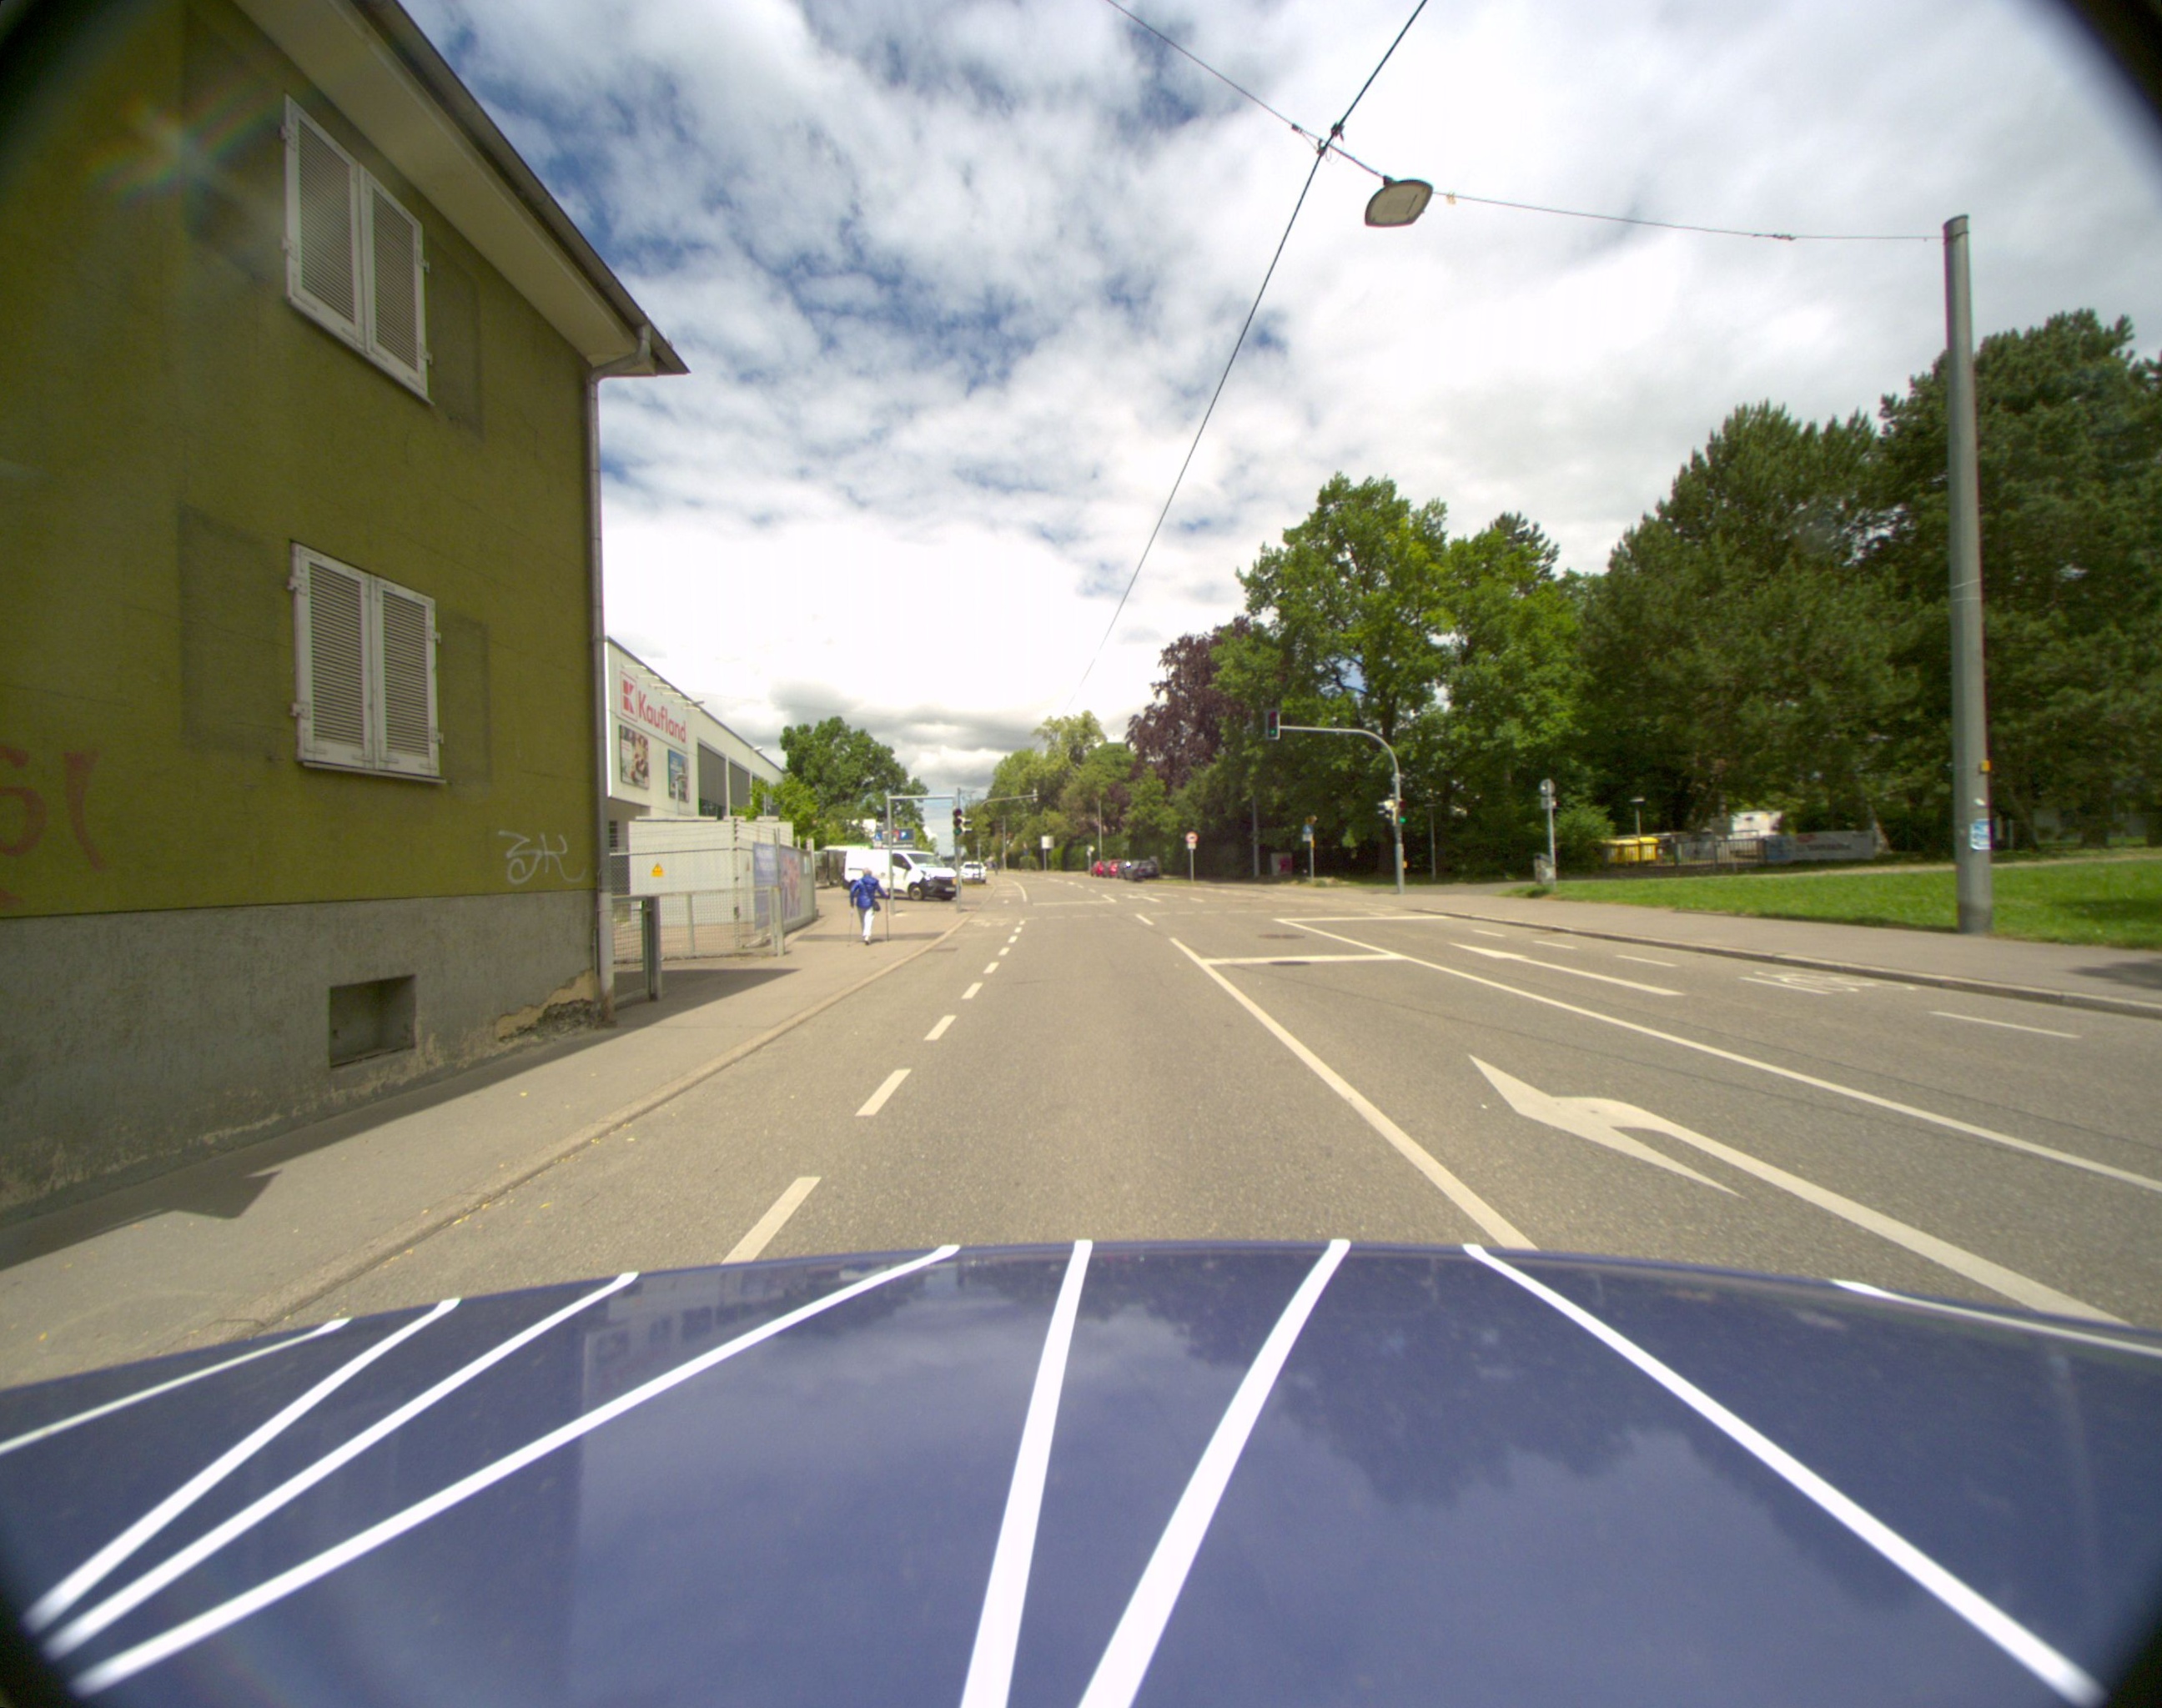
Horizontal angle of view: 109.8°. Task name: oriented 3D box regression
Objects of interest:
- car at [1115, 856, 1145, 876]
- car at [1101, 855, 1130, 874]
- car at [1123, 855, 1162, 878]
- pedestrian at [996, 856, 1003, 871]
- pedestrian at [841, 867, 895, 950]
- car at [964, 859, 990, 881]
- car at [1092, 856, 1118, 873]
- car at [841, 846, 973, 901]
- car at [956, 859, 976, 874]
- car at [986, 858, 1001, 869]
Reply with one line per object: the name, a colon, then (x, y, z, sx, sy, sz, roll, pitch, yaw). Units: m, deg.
car: (3.776, 0.918, 58.899, 1.560, 1.404, 3.191, -3, 1, -9)
car: (2.852, 0.875, 63.459, 1.524, 1.469, 3.321, -3, 1, -12)
car: (4.367, 0.880, 54.507, 1.688, 1.407, 4.398, -3, 1, -9)
pedestrian: (-8.841, 1.047, 82.245, 0.554, 1.663, 0.587, -3, 1, -28)
pedestrian: (-4.202, 1.054, 15.024, 0.826, 1.563, 0.987, -1, 1, -4)
car: (-7.604, 1.153, 55.584, 1.796, 1.522, 3.918, 1, 0, -9)
car: (2.107, 0.948, 68.515, 1.531, 1.358, 3.371, -3, 1, -12)
car: (-6.987, 0.739, 30.253, 5.336, 2.011, 2.004, -1, 0, 35)
car: (-12.653, 1.311, 83.670, 1.707, 1.522, 3.995, -3, 0, -15)
car: (-13.488, 1.475, 117.035, 1.852, 1.546, 3.945, -3, 0, -13)
